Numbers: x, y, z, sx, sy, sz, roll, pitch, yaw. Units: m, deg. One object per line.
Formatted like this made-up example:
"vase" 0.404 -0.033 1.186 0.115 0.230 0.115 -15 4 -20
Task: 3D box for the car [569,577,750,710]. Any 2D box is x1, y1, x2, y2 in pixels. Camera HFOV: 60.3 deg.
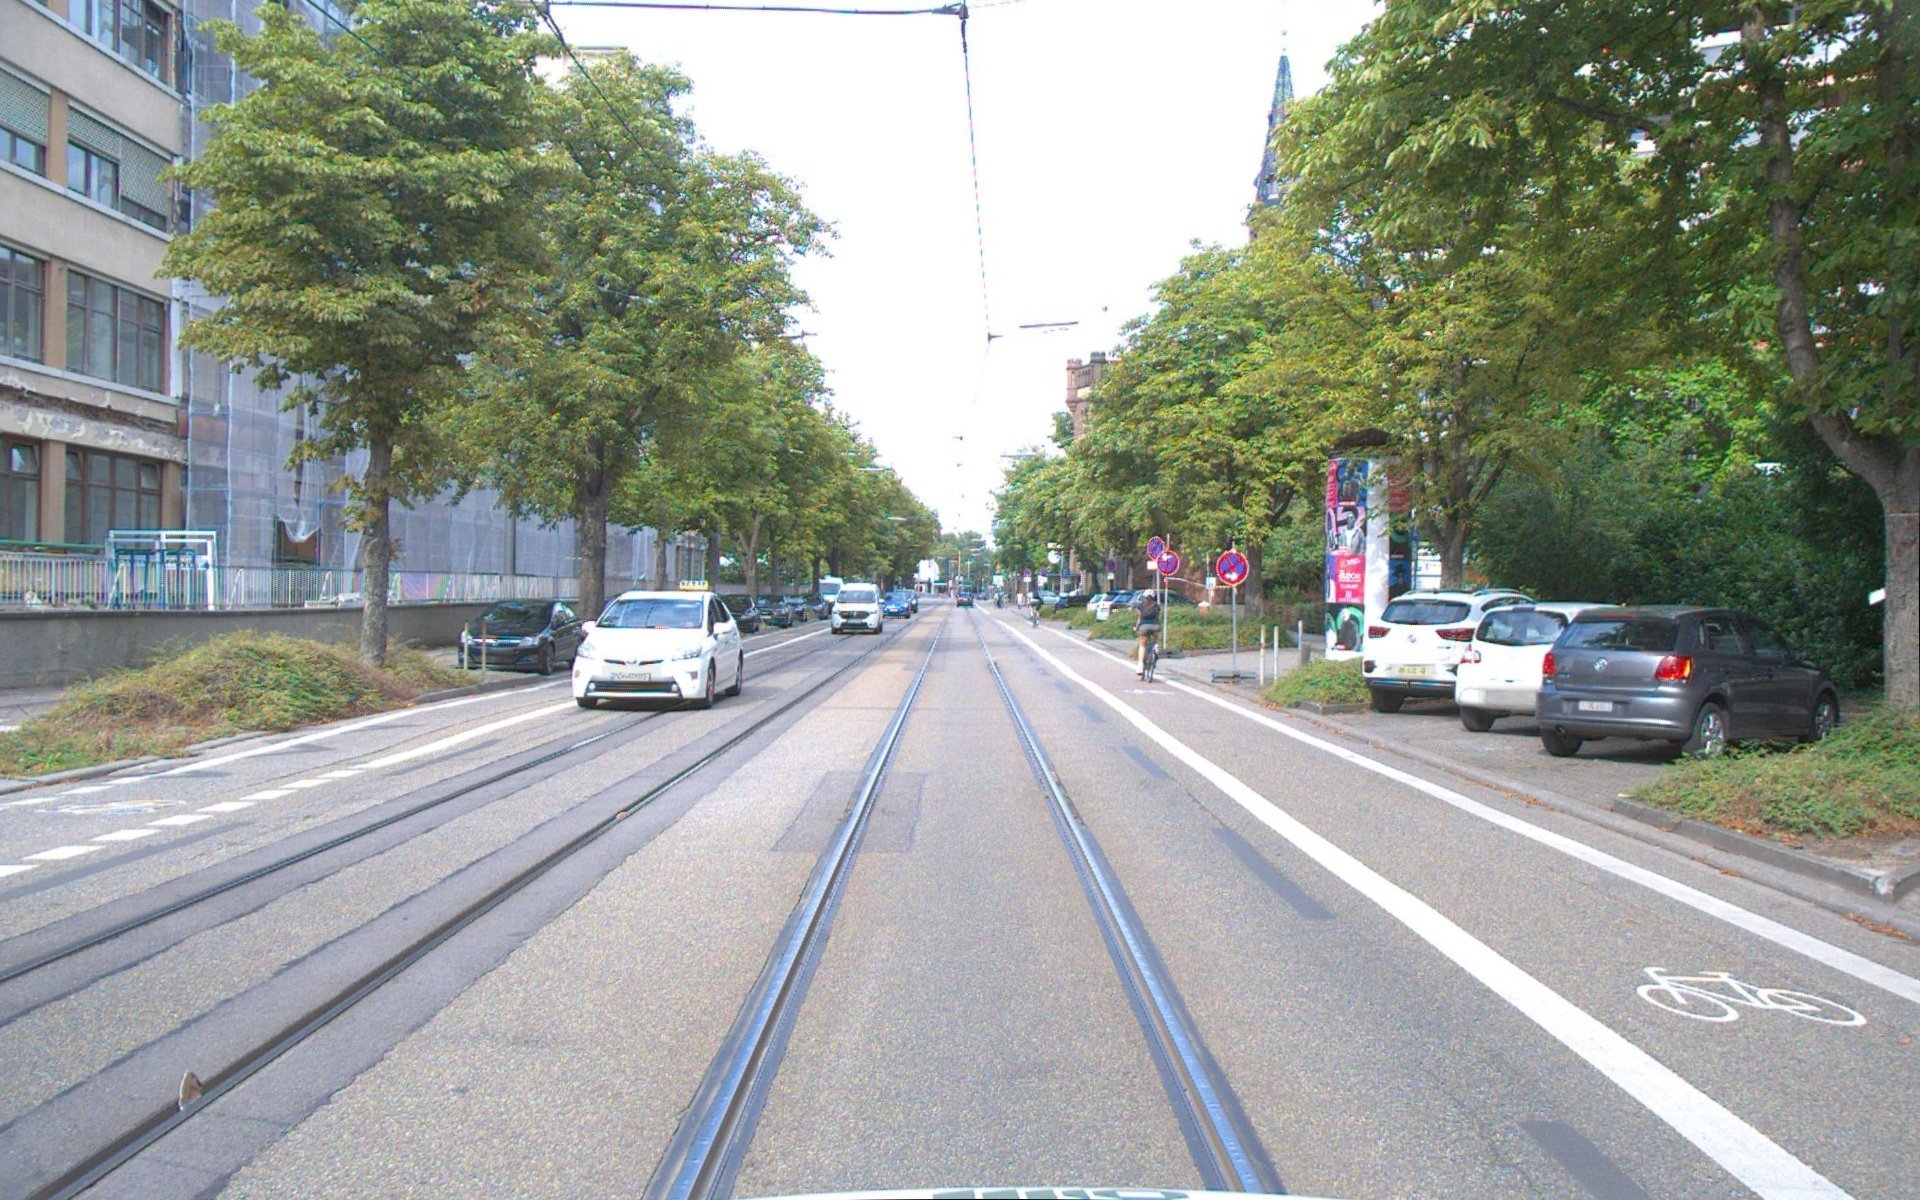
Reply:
"car" -3.972 0.520 22.531 1.697 1.640 4.334 0 0 0

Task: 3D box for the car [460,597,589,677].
"car" -8.383 0.675 32.116 1.558 1.427 3.961 1 0 -2

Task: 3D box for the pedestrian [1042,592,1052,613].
"pedestrian" 7.615 0.239 144.623 0.732 1.821 0.731 1 -1 15

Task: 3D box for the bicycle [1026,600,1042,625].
"bicycle" 3.264 0.536 72.970 0.650 1.062 1.841 1 0 0

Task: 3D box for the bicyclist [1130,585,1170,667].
"bicyclist" 3.504 0.478 30.544 0.581 1.485 0.875 1 0 -2

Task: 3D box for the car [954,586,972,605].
"car" 0.269 -0.472 169.467 1.758 1.855 4.677 1 0 -1

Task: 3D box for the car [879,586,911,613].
"car" -3.723 -0.070 95.555 1.697 1.522 4.378 0 1 0

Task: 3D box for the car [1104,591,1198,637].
"car" 7.148 0.526 61.690 1.654 1.630 3.621 0 0 44

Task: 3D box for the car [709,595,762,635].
"car" -8.412 0.537 62.288 1.558 1.427 3.961 1 0 -2

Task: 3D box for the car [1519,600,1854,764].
"car" 7.302 0.746 16.505 3.612 1.444 1.658 1 0 -40

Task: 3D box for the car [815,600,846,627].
"car" -7.282 0.730 93.015 1.558 1.427 3.961 1 0 -2

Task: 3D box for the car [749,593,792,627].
"car" -8.294 0.431 72.588 1.558 1.427 3.961 1 0 -2

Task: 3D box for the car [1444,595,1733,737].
"car" 7.432 0.721 19.435 3.612 1.500 1.658 1 0 -40

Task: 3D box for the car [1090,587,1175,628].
"car" 7.149 0.327 68.490 1.654 1.630 3.621 0 0 44

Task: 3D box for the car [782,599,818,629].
"car" -7.988 0.674 82.811 1.558 1.427 3.961 1 0 -2

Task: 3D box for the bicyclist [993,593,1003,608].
"bicyclist" 3.839 0.032 167.273 0.828 1.531 0.769 1 0 7

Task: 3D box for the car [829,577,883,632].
"car" -3.733 0.142 59.826 1.697 1.917 4.377 1 0 -1

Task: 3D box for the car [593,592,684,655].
"car" -8.266 0.563 42.777 1.602 1.522 3.962 1 0 -1

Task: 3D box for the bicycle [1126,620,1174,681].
"bicycle" 3.494 0.915 30.543 0.581 1.062 1.977 1 0 -2

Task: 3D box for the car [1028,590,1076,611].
"car" 8.077 0.030 144.869 3.910 1.722 1.998 1 0 -6

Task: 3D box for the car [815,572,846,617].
"car" -8.301 -0.341 106.358 1.686 2.751 5.468 1 0 -2

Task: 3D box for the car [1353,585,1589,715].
"car" 7.045 0.636 22.645 1.654 1.630 3.621 0 0 44

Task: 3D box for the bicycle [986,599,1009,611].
"bicycle" 3.834 0.514 167.276 2.226 1.210 0.769 1 0 7

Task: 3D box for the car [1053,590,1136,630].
"car" 5.760 0.427 70.615 1.654 1.630 3.621 0 0 44

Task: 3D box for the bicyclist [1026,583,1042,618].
"bicyclist" 3.276 0.022 72.952 0.645 1.522 0.929 1 0 0
